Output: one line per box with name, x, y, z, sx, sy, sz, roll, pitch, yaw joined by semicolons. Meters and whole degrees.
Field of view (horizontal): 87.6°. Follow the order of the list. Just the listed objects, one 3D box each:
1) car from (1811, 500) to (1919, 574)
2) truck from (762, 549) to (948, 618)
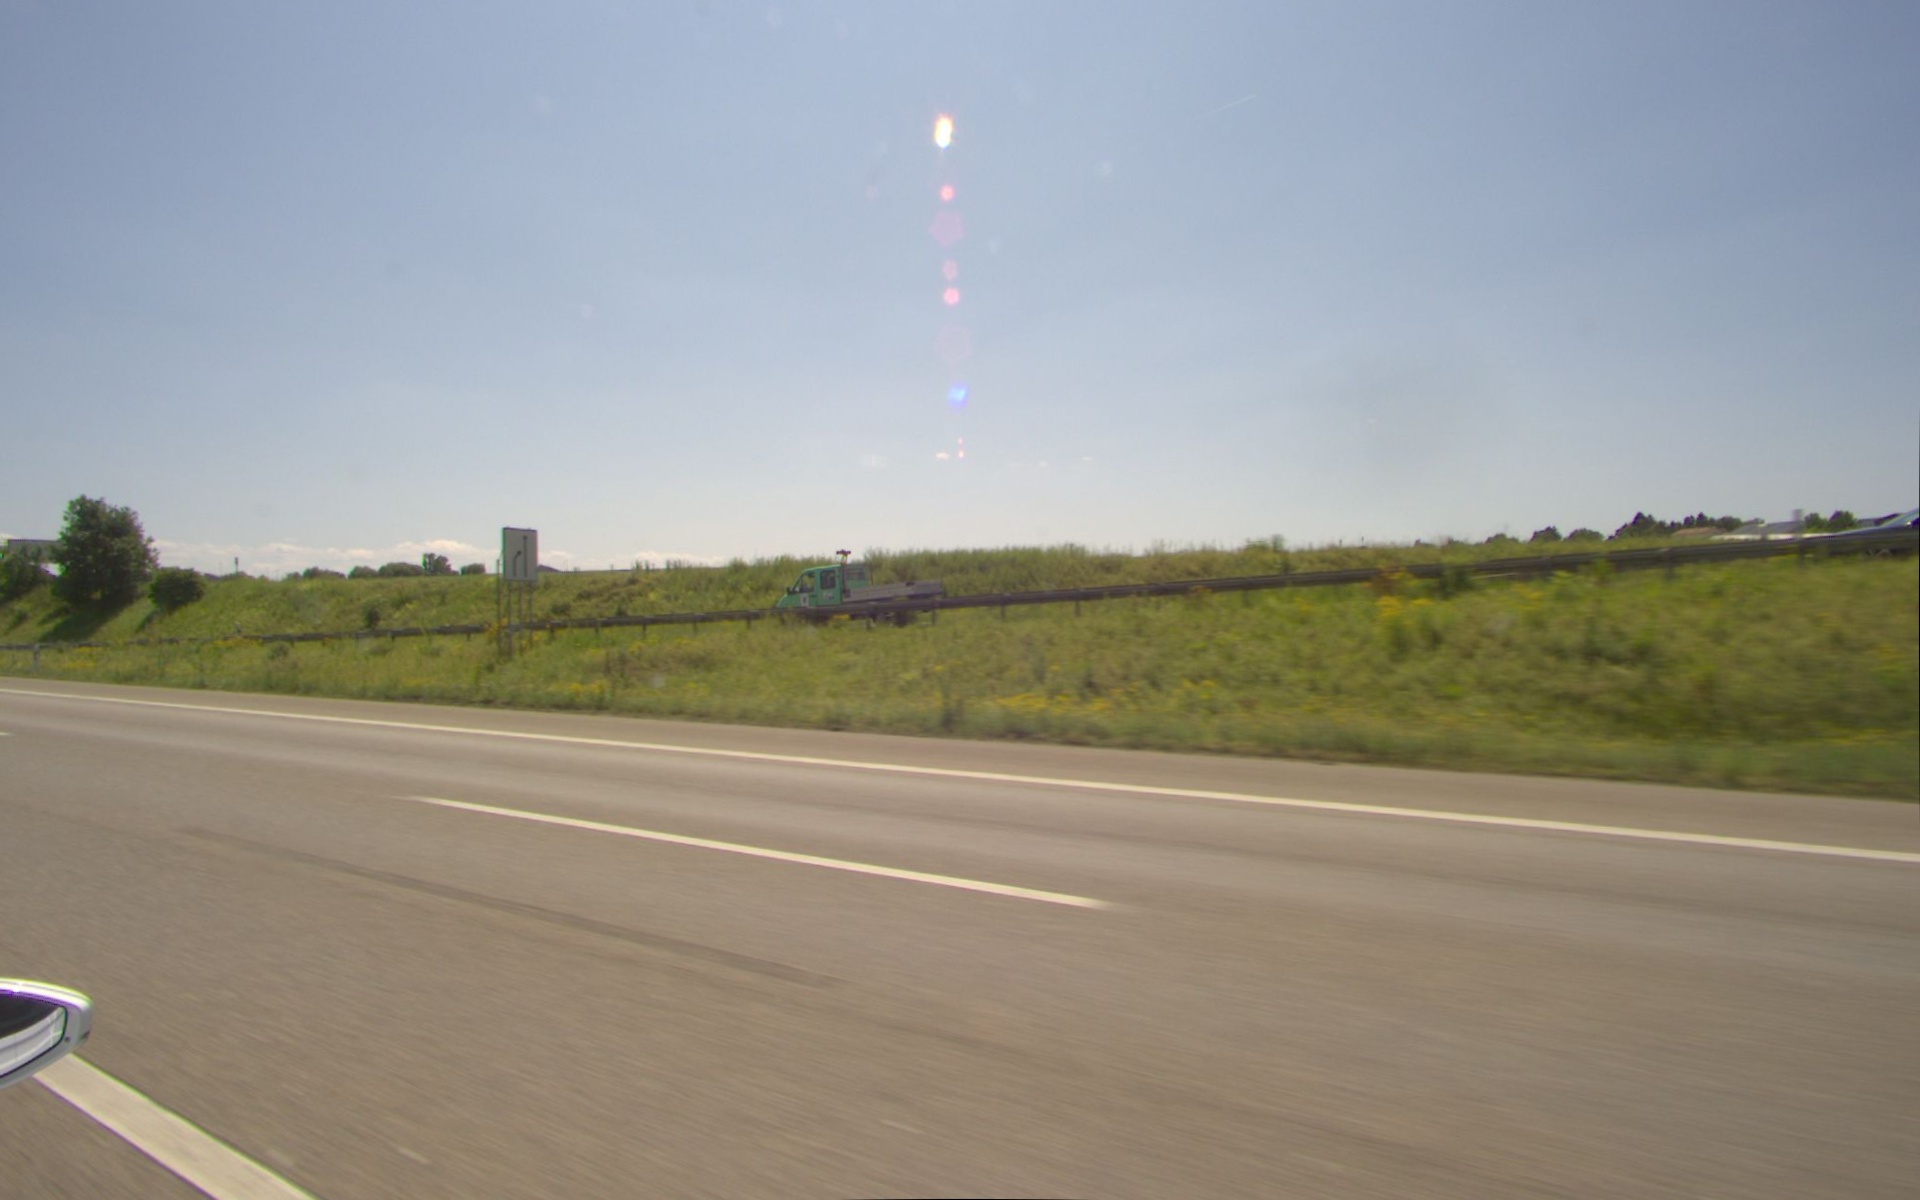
car;20.767;-1.331;20.865;4.227;1.401;1.994;-1;-1;25
truck;-3.571;-0.483;33.767;6.021;2.119;2.164;-1;-1;27
